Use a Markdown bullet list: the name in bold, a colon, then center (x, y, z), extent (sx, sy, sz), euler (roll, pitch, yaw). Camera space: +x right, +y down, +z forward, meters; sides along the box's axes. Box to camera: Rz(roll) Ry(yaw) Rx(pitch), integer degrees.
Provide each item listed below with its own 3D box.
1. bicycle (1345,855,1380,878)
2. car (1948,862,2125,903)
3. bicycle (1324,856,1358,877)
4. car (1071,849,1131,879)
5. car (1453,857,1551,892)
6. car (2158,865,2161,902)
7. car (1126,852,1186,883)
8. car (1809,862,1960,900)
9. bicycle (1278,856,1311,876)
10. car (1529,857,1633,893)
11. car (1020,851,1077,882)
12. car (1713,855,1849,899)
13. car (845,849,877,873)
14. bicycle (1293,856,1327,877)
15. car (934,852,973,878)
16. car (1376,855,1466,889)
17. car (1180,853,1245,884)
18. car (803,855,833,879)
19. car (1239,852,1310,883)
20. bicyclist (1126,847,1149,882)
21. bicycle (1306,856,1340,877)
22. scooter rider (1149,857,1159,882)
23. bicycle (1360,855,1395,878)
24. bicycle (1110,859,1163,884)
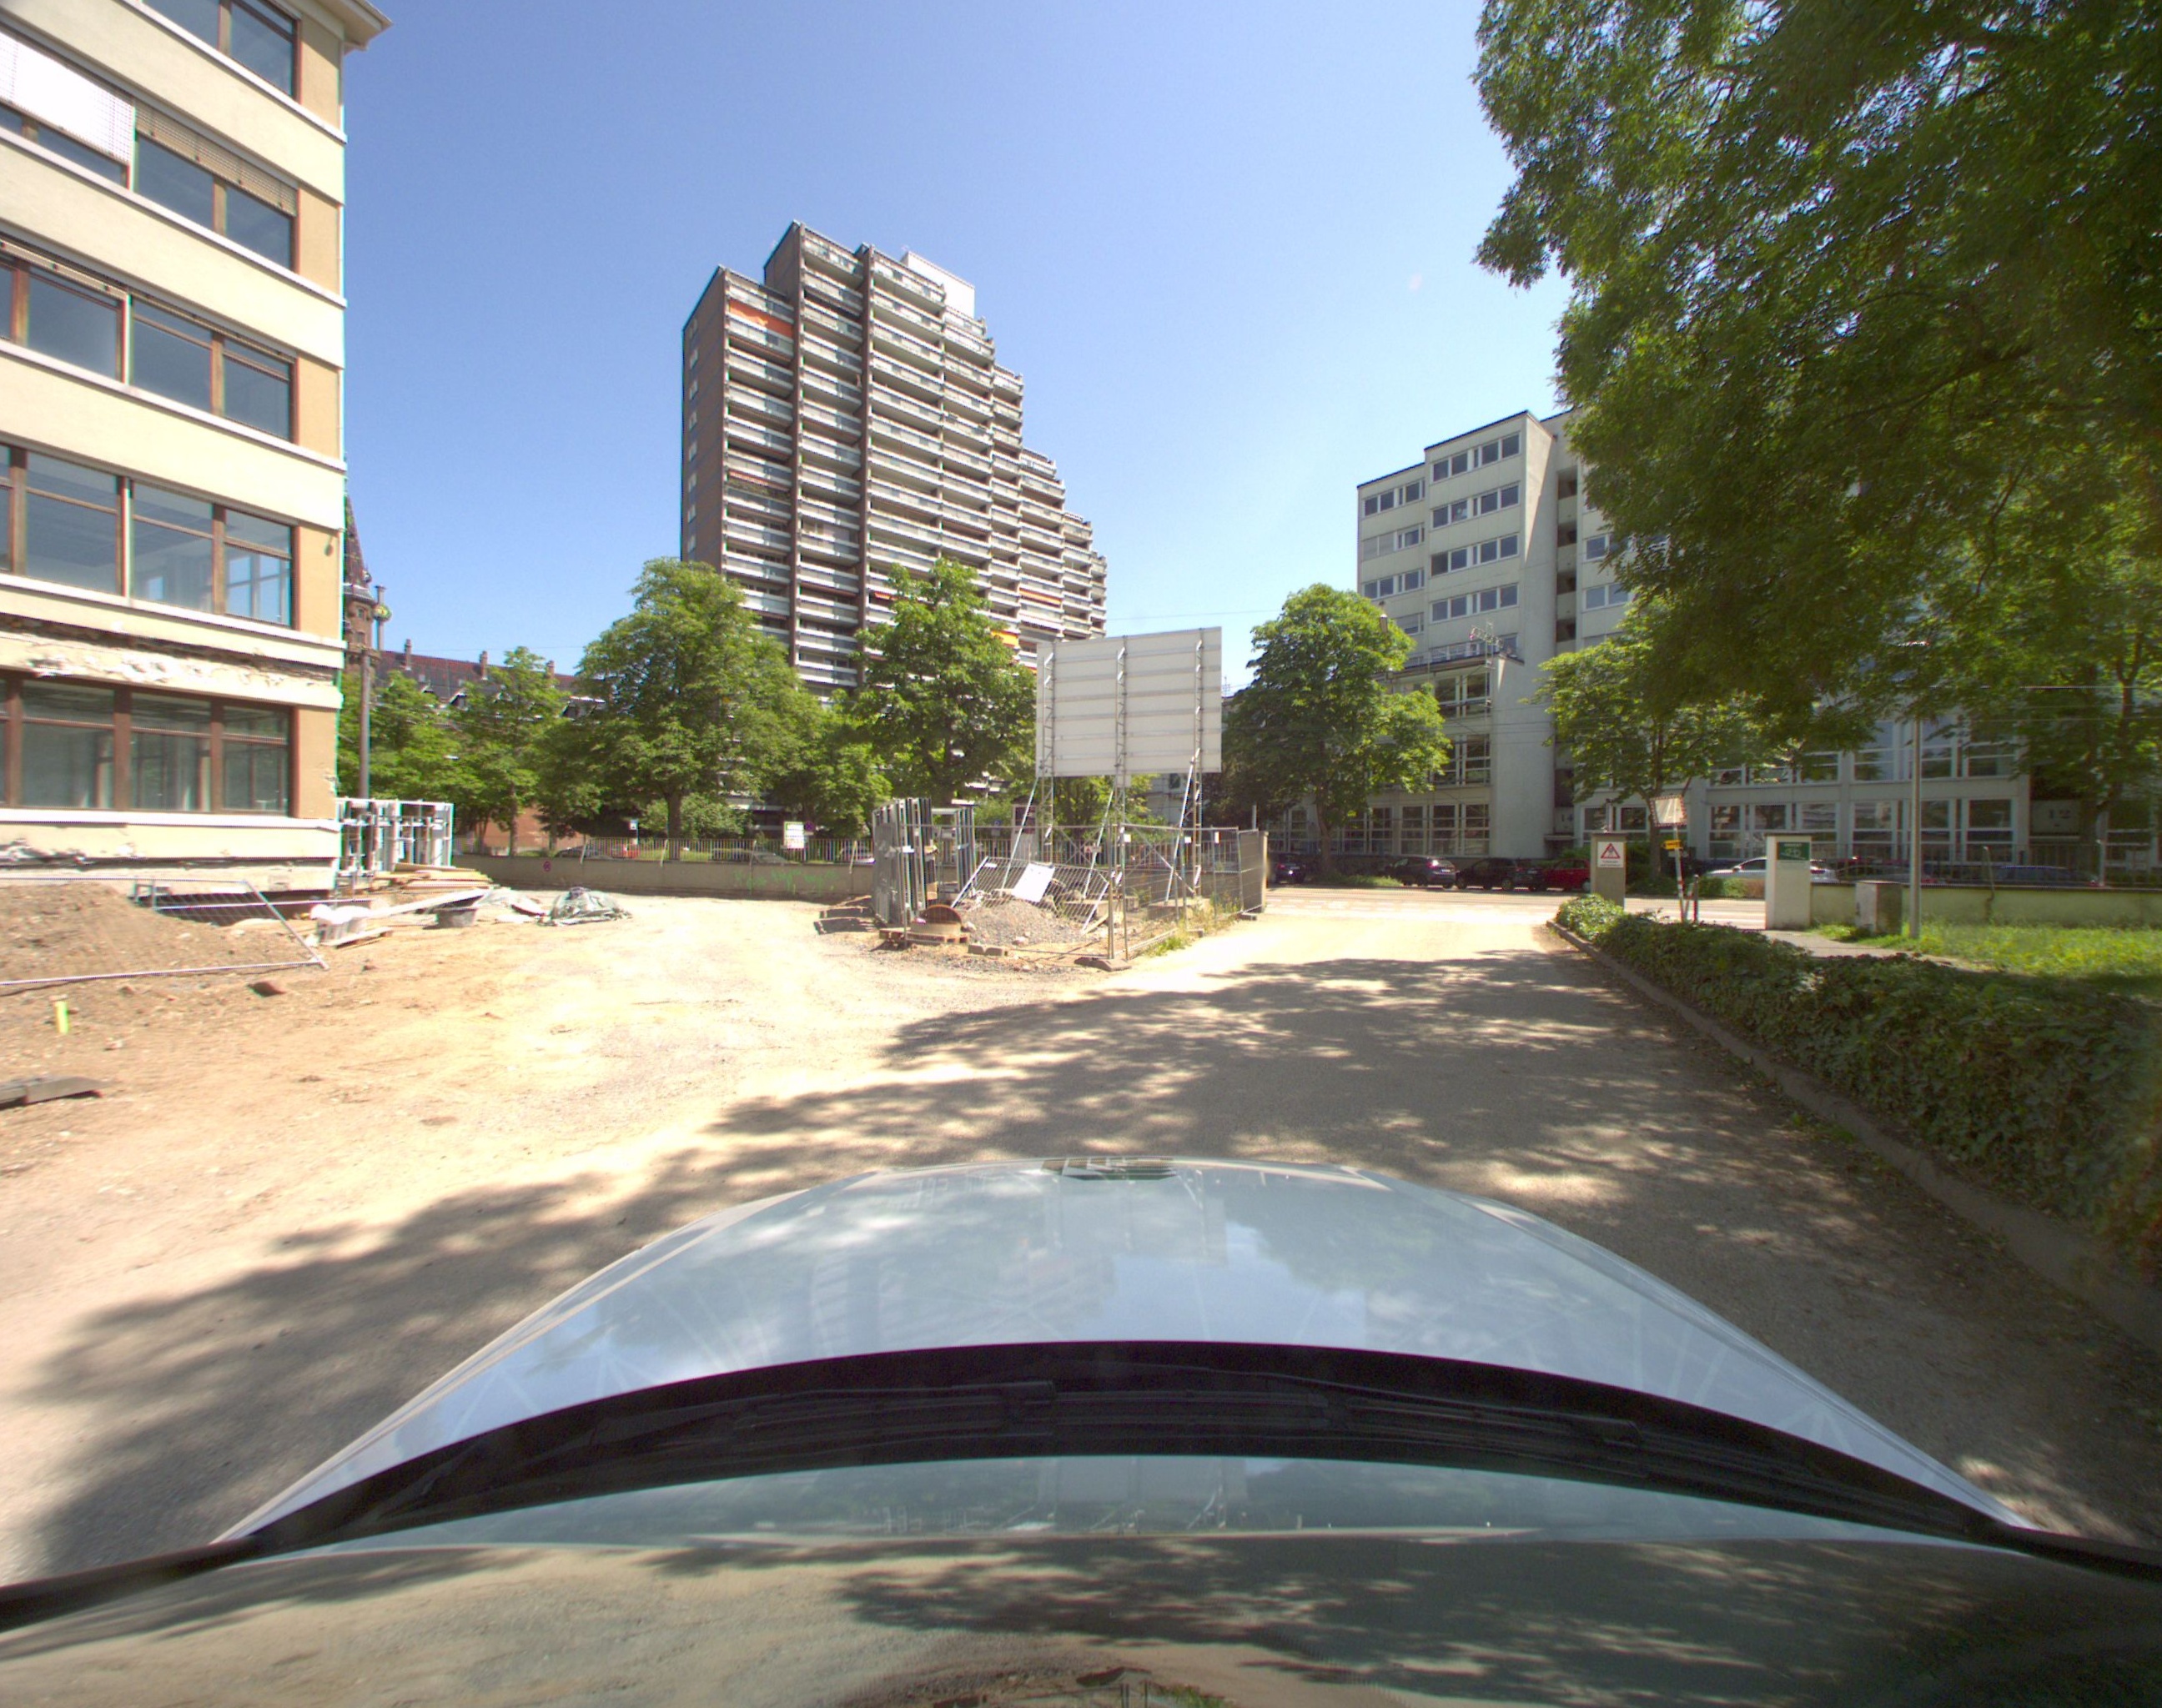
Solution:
- **bicycle**: center (15.373, 0.672, 44.498), extent (2.446, 1.188, 0.773), euler (0, 0, -44)
- **car**: center (33.447, 0.940, 28.635), extent (1.611, 1.305, 3.722), euler (0, 0, -18)
- **bicycle**: center (14.497, 0.699, 45.352), extent (2.398, 1.157, 0.773), euler (0, 0, -44)
- **car**: center (0.972, 0.498, 41.763), extent (1.641, 1.464, 3.648), euler (0, 0, -24)
- **car**: center (18.356, 0.841, 35.671), extent (1.613, 1.445, 3.651), euler (0, 0, -22)
- **car**: center (39.215, 1.025, 27.182), extent (1.615, 1.291, 3.712), euler (0, 0, -27)
- **car**: center (3.771, 0.652, 41.362), extent (1.638, 1.464, 3.653), euler (0, 0, -20)
- **car**: center (30.088, 0.977, 30.639), extent (1.612, 1.281, 3.721), euler (0, 0, -19)
- **bicycle**: center (12.465, 0.686, 47.492), extent (2.398, 1.157, 0.773), euler (0, 0, -44)
- **car**: center (21.218, 0.855, 34.695), extent (1.612, 1.437, 3.580), euler (0, 0, -19)
- **car**: center (-1.686, 0.611, 40.923), extent (1.641, 1.464, 3.648), euler (0, 0, -24)
- **car**: center (27.235, 0.840, 31.830), extent (1.614, 1.620, 3.714), euler (0, 0, -24)
- **car**: center (-13.265, 0.415, 48.950), extent (1.638, 1.387, 3.655), euler (0, 0, -19)
- **bicycle**: center (13.143, 0.697, 46.767), extent (2.398, 1.157, 0.773), euler (0, 0, -44)
- **car**: center (-7.234, 0.585, 45.990), extent (1.638, 1.387, 3.655), euler (0, 0, -19)
- **car**: center (15.430, 0.788, 37.132), extent (1.647, 1.464, 3.648), euler (0, 0, -25)
- **car**: center (6.521, 0.677, 40.619), extent (1.638, 1.464, 3.653), euler (0, 0, -20)
- **car**: center (-15.857, 0.735, 49.030), extent (1.638, 1.387, 3.655), euler (0, 0, -19)
- **car**: center (9.320, 0.629, 39.506), extent (1.638, 1.464, 3.653), euler (0, 0, -20)
- **bicyclist**: center (2.715, 0.496, 38.866), extent (0.890, 1.665, 0.863), euler (0, -1, 19)
- **bicycle**: center (13.739, 0.690, 46.125), extent (2.398, 1.157, 0.773), euler (0, 0, -44)
- **scooter rider**: center (3.394, 0.723, 37.791), extent (0.412, 1.134, 0.361), euler (0, -1, 19)
- **bicycle**: center (15.970, 0.655, 43.828), extent (2.446, 1.188, 0.773), euler (0, 0, -44)
- **bicycle**: center (2.646, 0.828, 38.879), extent (2.412, 1.152, 0.790), euler (0, 0, 18)
